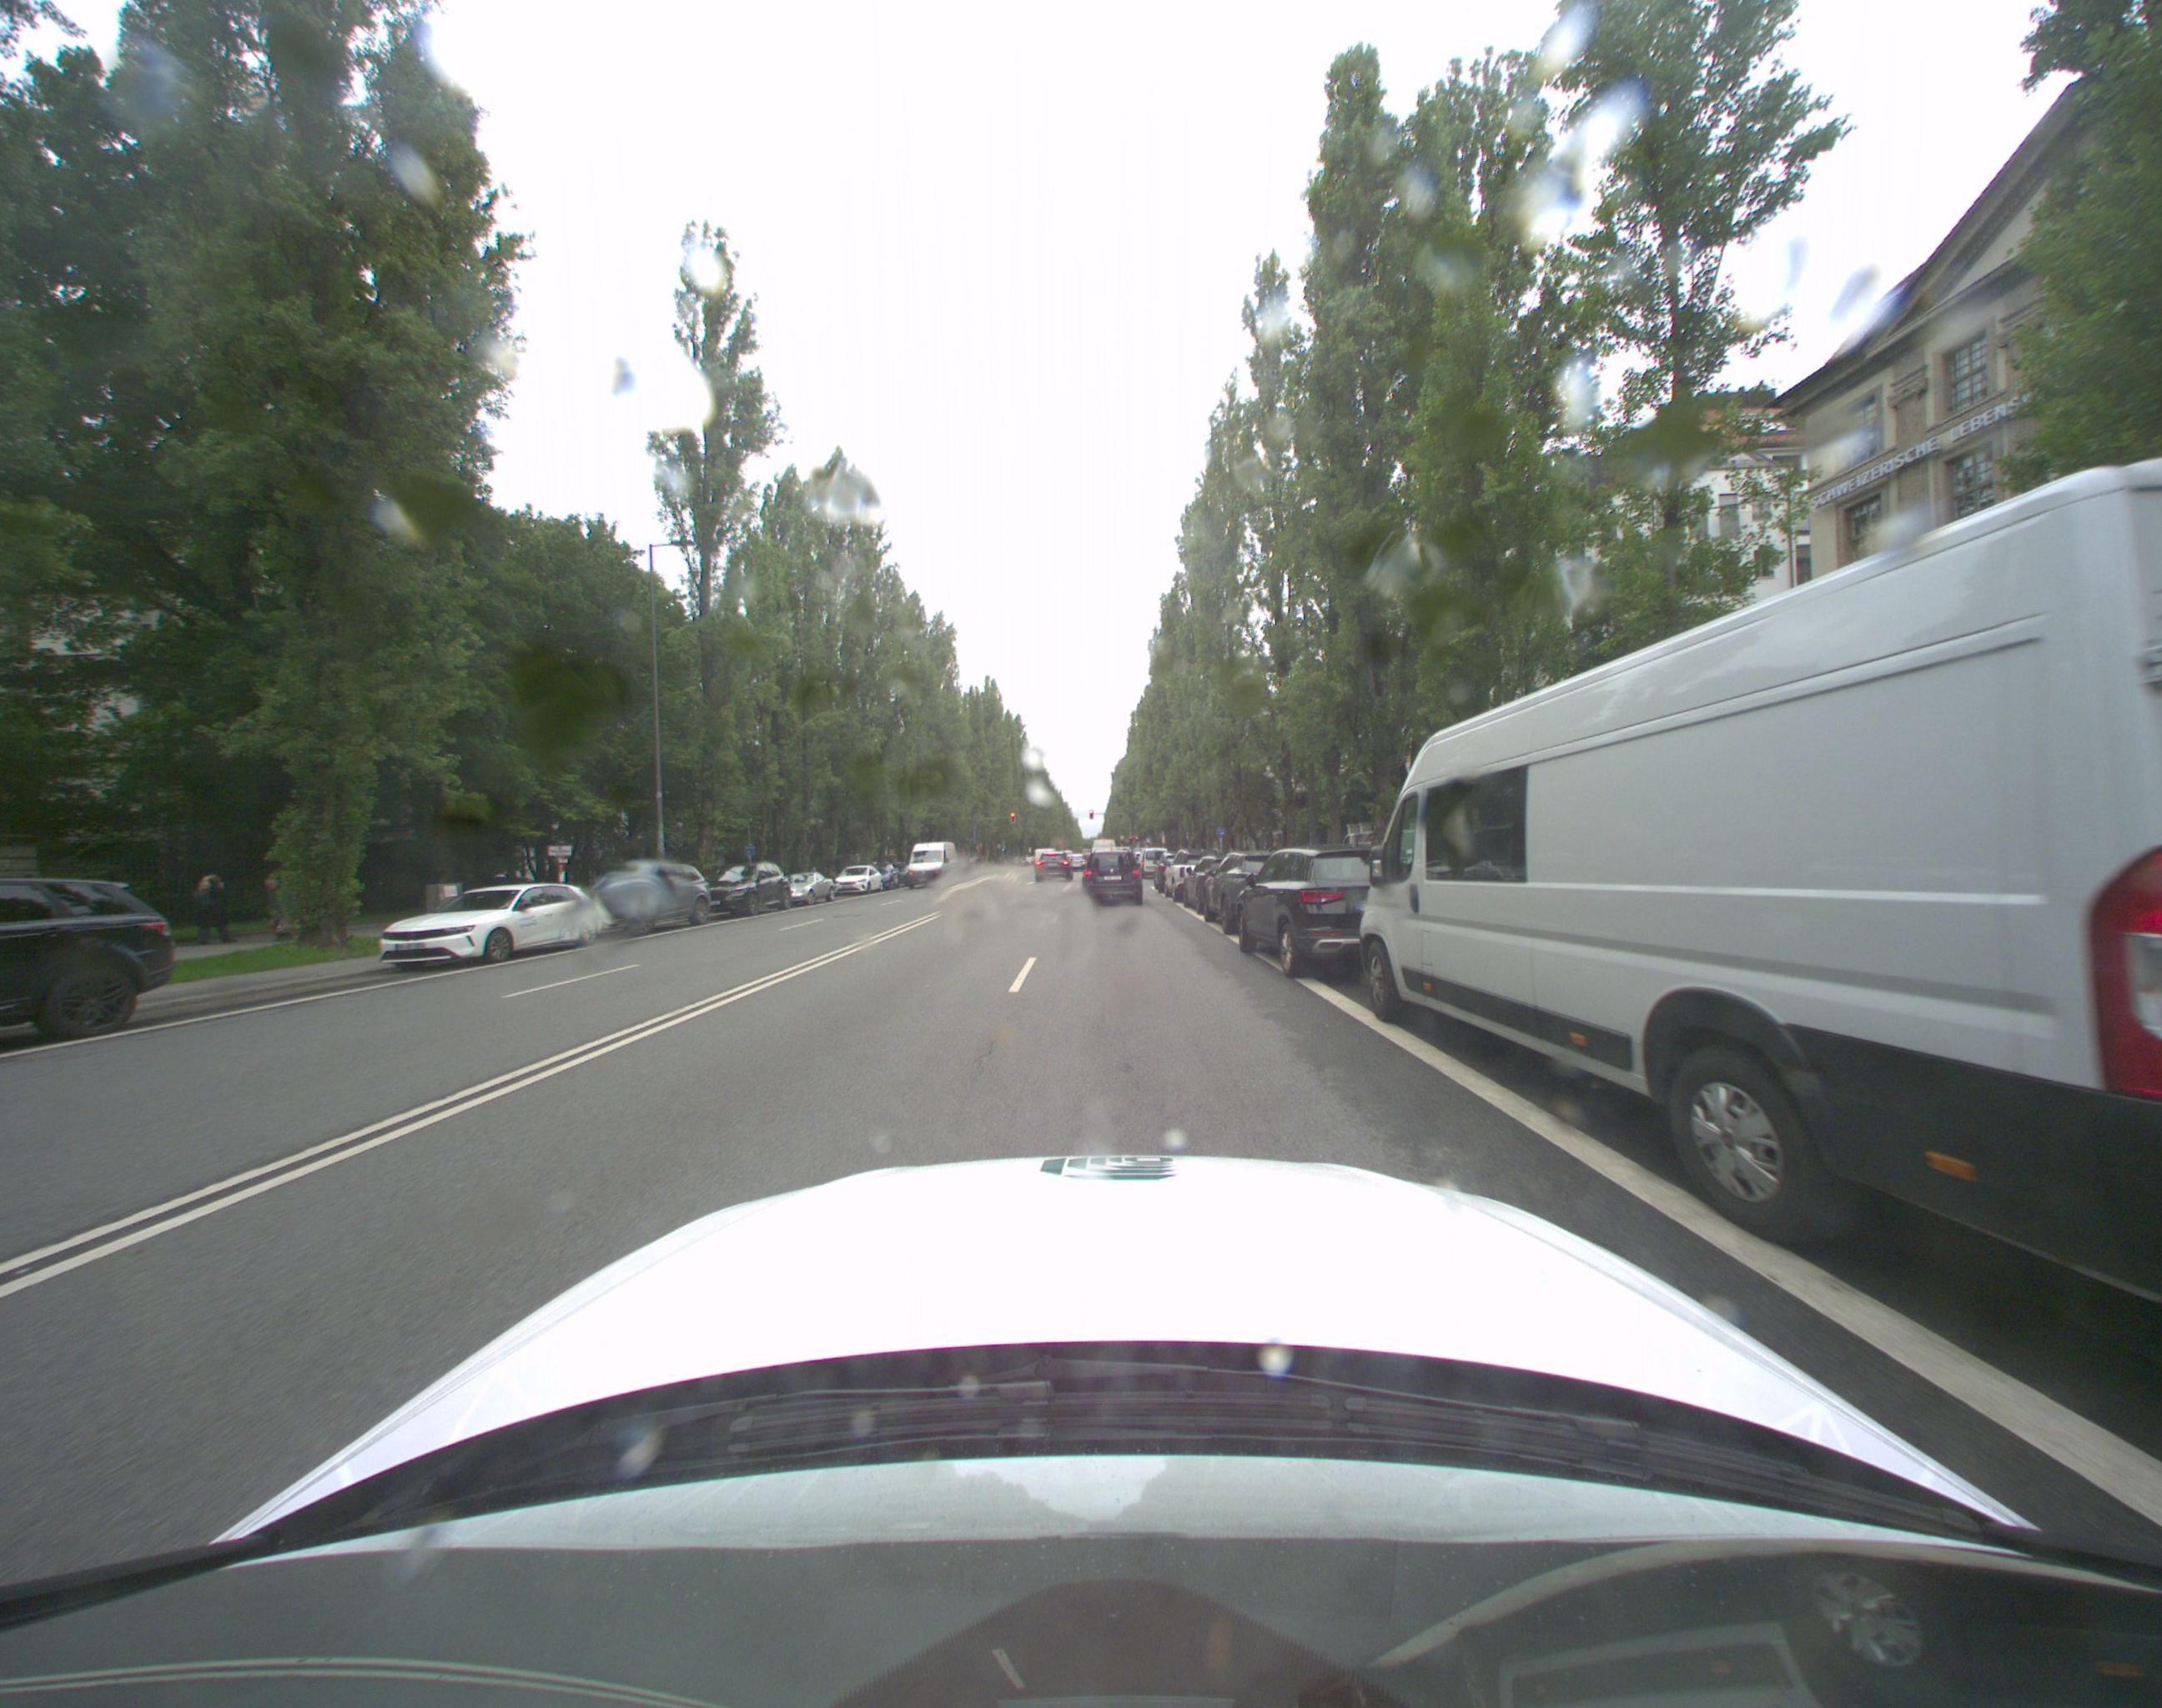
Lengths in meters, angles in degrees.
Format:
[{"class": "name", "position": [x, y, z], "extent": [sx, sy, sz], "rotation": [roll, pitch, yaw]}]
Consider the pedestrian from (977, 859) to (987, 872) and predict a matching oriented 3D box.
[{"class": "pedestrian", "position": [-13.209, 1.571, 108.867], "extent": [0.887, 1.655, 0.868], "rotation": [-2, 0, -37]}]

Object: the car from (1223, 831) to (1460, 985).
[{"class": "car", "position": [3.281, 0.593, 11.262], "extent": [1.779, 1.648, 4.416], "rotation": [-2, 0, -1]}]

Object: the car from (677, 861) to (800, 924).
[{"class": "car", "position": [-11.306, 1.200, 27.349], "extent": [1.935, 1.767, 4.895], "rotation": [-4, 0, 0]}]

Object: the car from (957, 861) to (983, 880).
[{"class": "car", "position": [-10.594, 1.553, 78.087], "extent": [1.844, 1.654, 4.693], "rotation": [-4, 0, -1]}]

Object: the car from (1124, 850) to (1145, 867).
[{"class": "car", "position": [4.734, 0.393, 72.463], "extent": [1.729, 1.475, 3.563], "rotation": [-2, 0, 1]}]

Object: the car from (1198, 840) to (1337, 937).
[{"class": "car", "position": [3.550, 0.588, 16.374], "extent": [1.777, 1.618, 4.639], "rotation": [-2, 0, 1]}]

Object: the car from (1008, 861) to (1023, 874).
[{"class": "car", "position": [-9.523, 1.910, 118.578], "extent": [1.682, 1.783, 3.776], "rotation": [-2, 0, 1]}]

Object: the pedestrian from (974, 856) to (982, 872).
[{"class": "pedestrian", "position": [-10.699, 1.012, 84.451], "extent": [0.658, 1.577, 0.530], "rotation": [-2, 0, 2]}]

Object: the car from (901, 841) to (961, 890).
[{"class": "car", "position": [-8.655, 0.631, 47.683], "extent": [2.221, 2.483, 6.756], "rotation": [-4, 0, -1]}]

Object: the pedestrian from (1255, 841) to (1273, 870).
[{"class": "pedestrian", "position": [11.152, 0.075, 49.649], "extent": [0.850, 1.717, 0.867], "rotation": [-3, -1, 1]}]

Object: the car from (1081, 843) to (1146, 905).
[{"class": "car", "position": [0.982, 0.567, 25.035], "extent": [1.849, 1.770, 4.001], "rotation": [0, 0, 1]}]

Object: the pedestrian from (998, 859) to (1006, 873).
[{"class": "pedestrian", "position": [-10.353, 1.554, 106.675], "extent": [0.967, 1.767, 0.678], "rotation": [-2, 0, -21]}]

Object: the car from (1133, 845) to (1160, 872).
[{"class": "car", "position": [4.887, 0.353, 61.084], "extent": [1.729, 1.895, 4.026], "rotation": [-2, 0, 1]}]

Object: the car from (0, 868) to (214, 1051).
[{"class": "car", "position": [-11.785, 1.134, 7.603], "extent": [2.038, 1.786, 4.802], "rotation": [-4, 0, 2]}]

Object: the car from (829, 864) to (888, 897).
[{"class": "car", "position": [-11.311, 1.321, 41.702], "extent": [1.765, 1.452, 4.233], "rotation": [-4, 0, 0]}]

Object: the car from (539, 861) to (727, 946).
[{"class": "car", "position": [-11.513, 1.167, 21.482], "extent": [1.903, 1.789, 5.180], "rotation": [-5, 0, 1]}]

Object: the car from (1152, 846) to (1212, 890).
[{"class": "car", "position": [3.855, 0.491, 31.690], "extent": [1.873, 1.540, 4.466], "rotation": [-2, 0, 2]}]

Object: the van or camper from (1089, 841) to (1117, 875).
[{"class": "van or camper", "position": [1.713, 0.293, 63.497], "extent": [1.969, 2.548, 4.024], "rotation": [-2, 0, 0]}]

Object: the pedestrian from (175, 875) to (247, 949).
[{"class": "pedestrian", "position": [-21.367, 1.401, 20.021], "extent": [0.664, 1.741, 0.957], "rotation": [-2, 0, 2]}]

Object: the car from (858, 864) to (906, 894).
[{"class": "car", "position": [-11.119, 1.379, 45.777], "extent": [1.704, 1.451, 3.585], "rotation": [-5, 0, 0]}]

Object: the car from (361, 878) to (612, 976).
[{"class": "car", "position": [-11.477, 1.326, 16.170], "extent": [1.698, 1.459, 4.273], "rotation": [-4, 0, 1]}]

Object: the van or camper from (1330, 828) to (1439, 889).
[{"class": "van or camper", "position": [10.729, 0.142, 29.292], "extent": [2.068, 1.933, 5.370], "rotation": [-1, 0, 2]}]

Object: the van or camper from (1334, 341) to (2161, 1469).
[{"class": "van or camper", "position": [3.574, 0.110, 4.970], "extent": [2.131, 2.540, 6.419], "rotation": [-2, 0, 1]}]

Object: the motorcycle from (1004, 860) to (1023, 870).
[{"class": "motorcycle", "position": [-9.115, 1.472, 110.091], "extent": [2.355, 1.269, 0.930], "rotation": [-2, 0, 1]}]

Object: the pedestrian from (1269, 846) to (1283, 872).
[{"class": "pedestrian", "position": [11.910, 0.309, 49.776], "extent": [0.566, 1.579, 0.867], "rotation": [-2, -1, 1]}]

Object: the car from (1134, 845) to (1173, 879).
[{"class": "car", "position": [4.284, 0.449, 48.602], "extent": [1.845, 1.881, 4.167], "rotation": [-2, 0, -1]}]

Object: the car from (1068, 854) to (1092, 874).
[{"class": "car", "position": [-0.060, 0.829, 70.450], "extent": [1.987, 1.560, 4.000], "rotation": [-2, 0, 0]}]

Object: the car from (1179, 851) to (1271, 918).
[{"class": "car", "position": [3.659, 0.720, 21.401], "extent": [1.696, 1.520, 4.296], "rotation": [-2, 0, 1]}]

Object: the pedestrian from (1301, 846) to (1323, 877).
[{"class": "pedestrian", "position": [14.001, 0.438, 49.359], "extent": [0.905, 1.800, 0.825], "rotation": [-3, 2, -20]}]

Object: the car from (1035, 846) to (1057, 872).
[{"class": "car", "position": [-2.993, 0.392, 69.824], "extent": [1.776, 2.111, 4.022], "rotation": [-2, 0, -2]}]

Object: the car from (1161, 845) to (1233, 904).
[{"class": "car", "position": [3.643, 0.594, 26.335], "extent": [1.736, 1.675, 4.581], "rotation": [-2, 0, 1]}]

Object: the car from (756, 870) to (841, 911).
[{"class": "car", "position": [-11.287, 1.421, 32.878], "extent": [1.820, 1.334, 4.234], "rotation": [-4, 0, 1]}]

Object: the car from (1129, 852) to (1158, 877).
[{"class": "car", "position": [4.259, 0.719, 55.812], "extent": [1.734, 1.593, 4.213], "rotation": [-2, 0, 1]}]

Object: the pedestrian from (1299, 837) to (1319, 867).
[{"class": "pedestrian", "position": [13.880, -0.104, 49.548], "extent": [0.801, 1.782, 0.816], "rotation": [-2, -1, -16]}]

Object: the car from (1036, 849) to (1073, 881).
[{"class": "car", "position": [-1.431, 0.595, 45.226], "extent": [1.775, 1.620, 4.026], "rotation": [-2, 0, 1]}]
